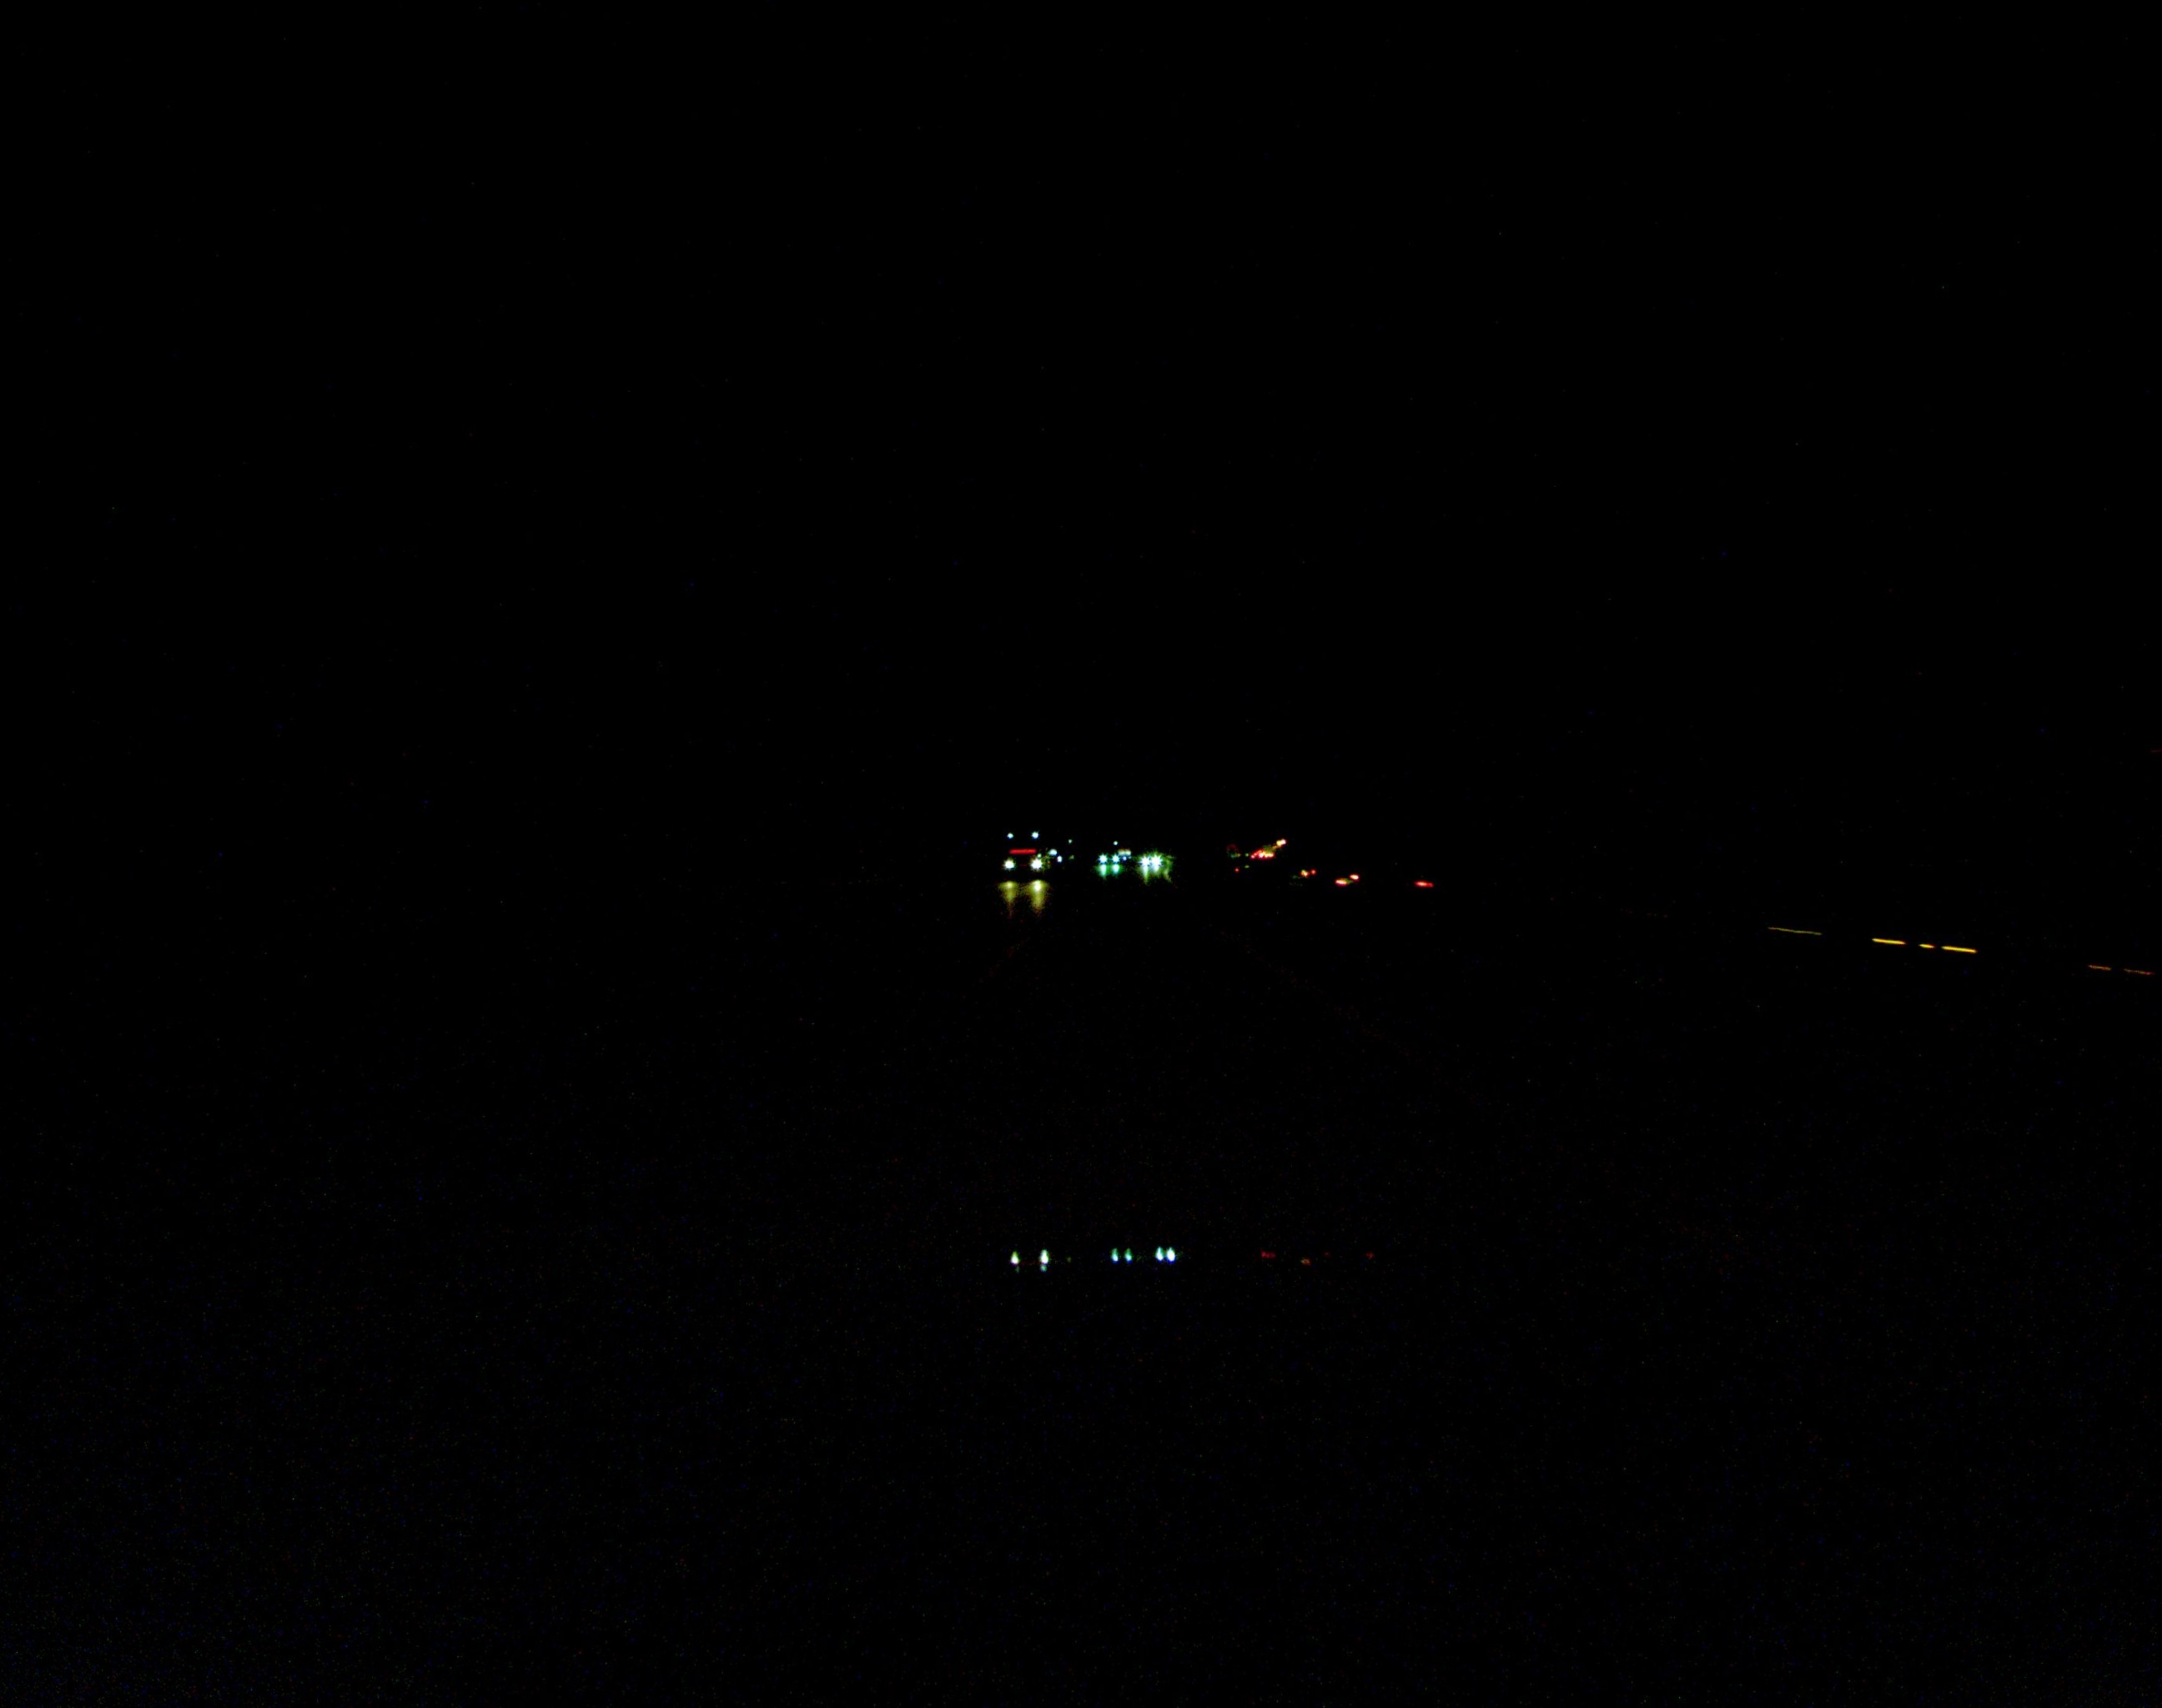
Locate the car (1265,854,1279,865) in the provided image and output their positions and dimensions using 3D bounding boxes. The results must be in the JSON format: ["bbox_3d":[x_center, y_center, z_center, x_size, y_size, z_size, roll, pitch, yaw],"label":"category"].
[{"bbox_3d":[30.395,0.865,121.202,1.756,1.706,4.002,-2,0,9],"label":"car"}]

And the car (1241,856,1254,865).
[{"bbox_3d":[27.642,1.040,126.099,1.906,1.445,4.714,-2,0,9],"label":"car"}]

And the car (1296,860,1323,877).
[{"bbox_3d":[22.907,1.464,76.316,1.820,1.548,4.281,-1,0,7],"label":"car"}]

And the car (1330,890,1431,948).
[{"bbox_3d":[9.159,1.954,23.595,1.604,1.433,4.000,-1,0,1],"label":"car"}]

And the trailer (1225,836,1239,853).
[{"bbox_3d":[36.436,-2.391,183.180,2.539,3.692,10.135,-4,1,14],"label":"trailer"}]

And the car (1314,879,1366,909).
[{"bbox_3d":[14.393,2.198,42.435,1.604,1.433,4.000,-1,0,1],"label":"car"}]

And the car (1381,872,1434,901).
[{"bbox_3d":[18.229,1.773,42.636,1.604,1.433,4.002,0,0,6],"label":"car"}]

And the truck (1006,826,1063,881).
[{"bbox_3d":[-3.444,-0.131,58.637,2.872,3.818,8.057,-3,1,7],"label":"truck"}]

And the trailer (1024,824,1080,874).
[{"bbox_3d":[-2.347,-0.459,68.084,2.880,3.908,12.892,-3,0,7],"label":"trailer"}]

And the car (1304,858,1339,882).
[{"bbox_3d":[21.059,1.370,66.721,2.143,2.042,5.115,0,0,8],"label":"car"}]

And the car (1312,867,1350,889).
[{"bbox_3d":[18.885,1.775,57.559,1.841,1.433,4.002,-2,0,6],"label":"car"}]

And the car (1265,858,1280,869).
[{"bbox_3d":[28.053,1.383,111.437,1.826,1.449,4.002,0,1,8],"label":"car"}]

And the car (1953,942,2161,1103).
[{"bbox_3d":[11.996,1.859,7.775,1.604,1.433,4.000,-1,0,1],"label":"car"}]

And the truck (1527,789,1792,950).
[{"bbox_3d":[16.979,0.394,23.037,3.426,4.198,6.284,0,0,3],"label":"truck"}]

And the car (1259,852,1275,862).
[{"bbox_3d":[31.795,0.450,129.749,2.078,1.625,4.923,-2,0,7],"label":"car"}]

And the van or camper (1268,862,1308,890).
[{"bbox_3d":[15.600,1.624,57.533,1.998,2.002,5.223,0,0,4],"label":"van or camper"}]

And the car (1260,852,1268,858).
[{"bbox_3d":[47.708,0.152,197.761,1.996,1.482,4.407,-2,0,14],"label":"car"}]

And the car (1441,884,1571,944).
[{"bbox_3d":[12.636,1.730,22.935,1.604,1.433,4.255,-1,0,1],"label":"car"}]

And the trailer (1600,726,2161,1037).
[{"bbox_3d":[16.619,0.361,15.768,3.443,4.216,12.834,0,0,3],"label":"trailer"}]

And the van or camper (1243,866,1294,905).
[{"bbox_3d":[10.442,1.716,42.576,2.034,2.002,4.577,0,0,4],"label":"van or camper"}]

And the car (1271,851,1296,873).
[{"bbox_3d":[24.177,0.952,90.869,2.032,2.427,5.697,-2,0,6],"label":"car"}]

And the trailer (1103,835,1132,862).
[{"bbox_3d":[6.108,-0.882,122.762,2.838,3.952,15.773,-2,0,9],"label":"trailer"}]

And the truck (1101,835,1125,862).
[{"bbox_3d":[4.852,-0.803,114.629,2.898,3.949,4.003,-2,0,9],"label":"truck"}]

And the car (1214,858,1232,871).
[{"bbox_3d":[17.153,1.309,91.914,1.820,1.460,4.281,-1,0,7],"label":"car"}]

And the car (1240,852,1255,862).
[{"bbox_3d":[25.286,0.439,115.352,1.820,1.460,4.281,-1,0,7],"label":"car"}]

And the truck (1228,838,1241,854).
[{"bbox_3d":[38.421,-2.108,190.037,2.607,3.721,6.761,-4,1,15],"label":"truck"}]

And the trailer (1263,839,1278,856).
[{"bbox_3d":[52.378,-1.855,210.135,3.153,4.290,14.825,-4,1,16],"label":"trailer"}]

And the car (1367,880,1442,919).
[{"bbox_3d":[14.112,1.956,33.434,1.604,1.433,4.385,-1,0,3],"label":"car"}]

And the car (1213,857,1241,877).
[{"bbox_3d":[13.285,1.166,69.335,2.143,1.696,5.115,0,0,7],"label":"car"}]
